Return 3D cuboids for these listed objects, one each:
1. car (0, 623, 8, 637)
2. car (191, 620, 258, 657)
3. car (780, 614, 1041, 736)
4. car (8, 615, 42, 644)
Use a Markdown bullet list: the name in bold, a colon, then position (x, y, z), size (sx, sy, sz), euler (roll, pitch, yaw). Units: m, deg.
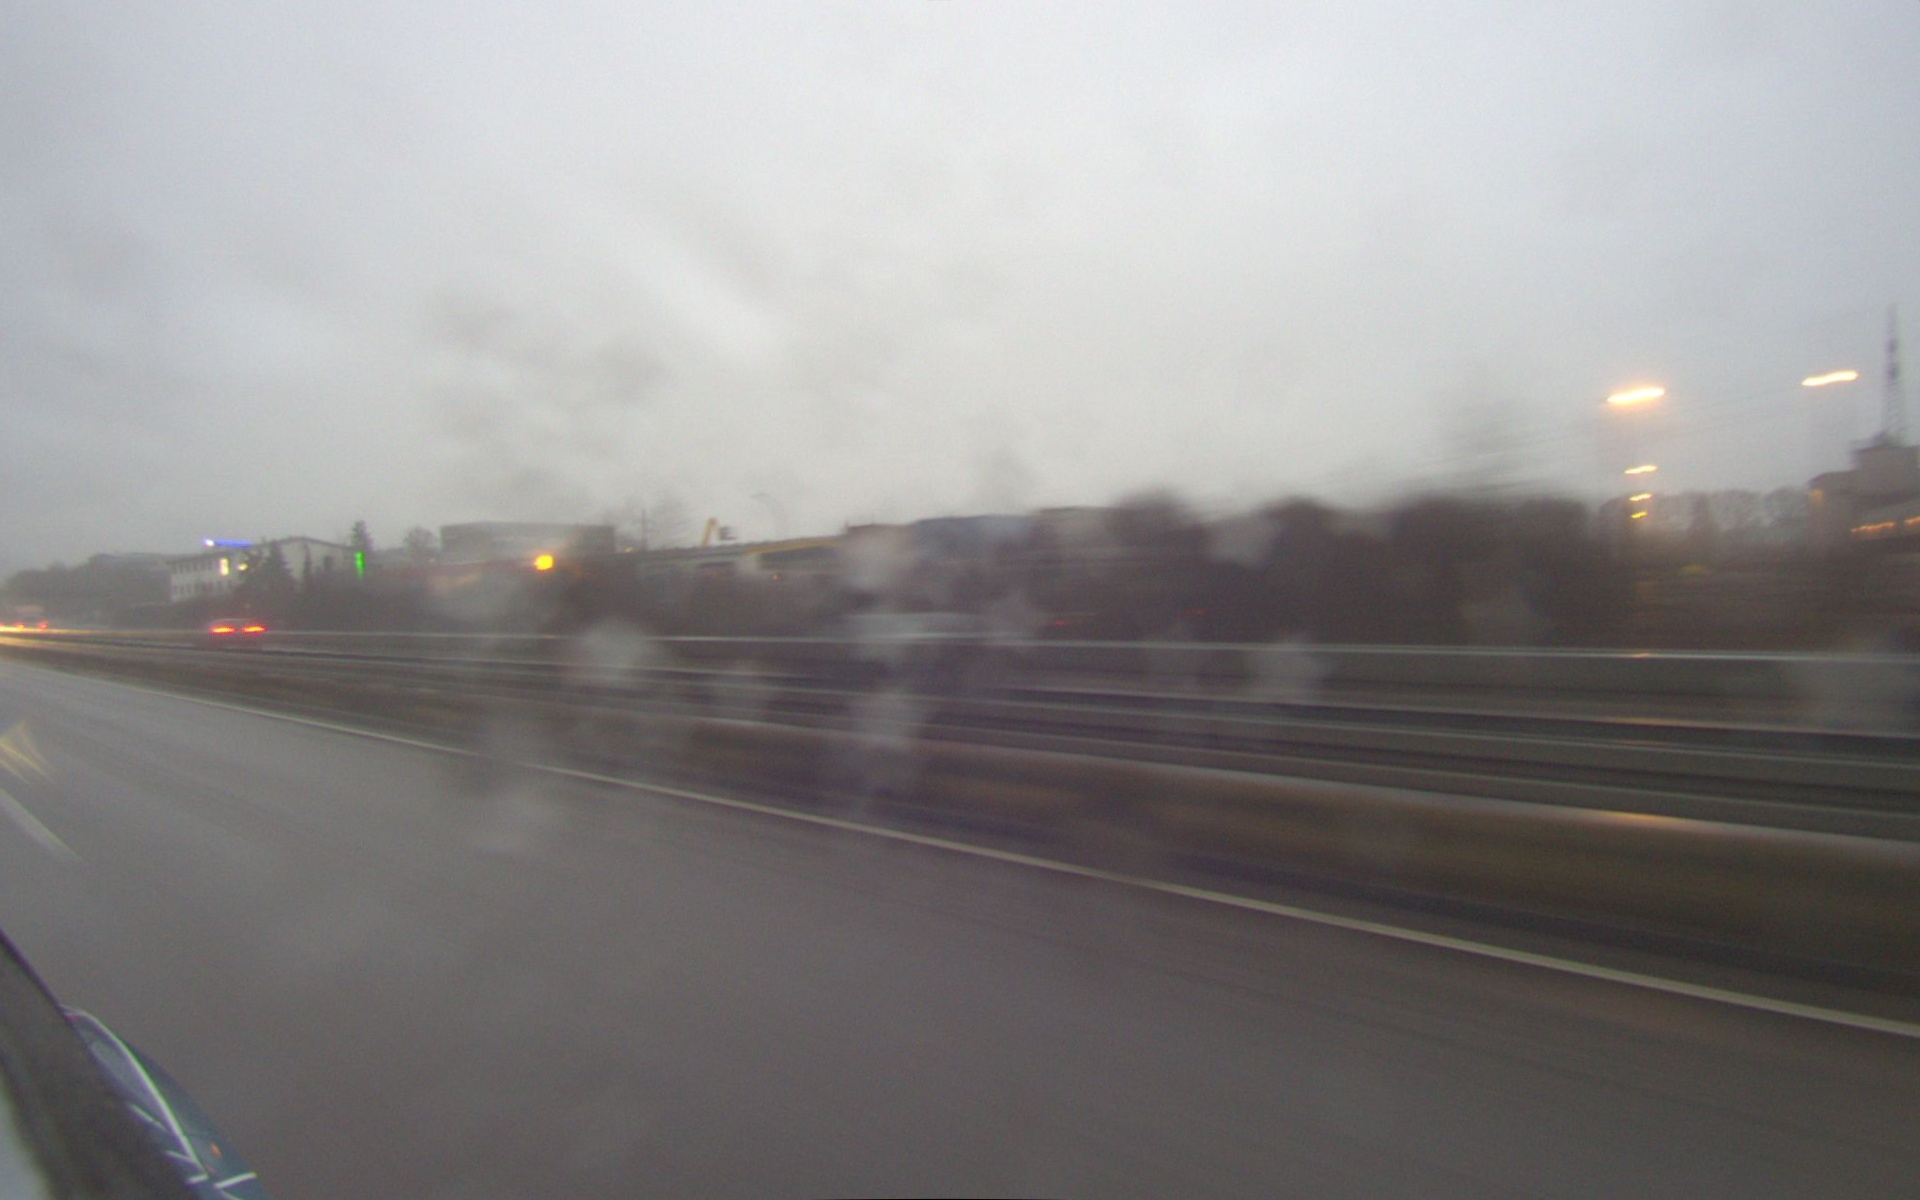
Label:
- **car**: position (-113.820, 3.557, 119.531), size (3.999, 1.519, 1.718), euler (-1, 0, 42)
- **car**: position (-34.636, 1.785, 47.611), size (3.998, 1.652, 1.722), euler (-1, -1, 41)
- **car**: position (-0.857, 1.064, 15.738), size (3.998, 1.652, 1.722), euler (-1, -1, 41)
- **car**: position (-87.556, 2.713, 94.760), size (4.887, 2.313, 1.907), euler (3, 3, 42)
